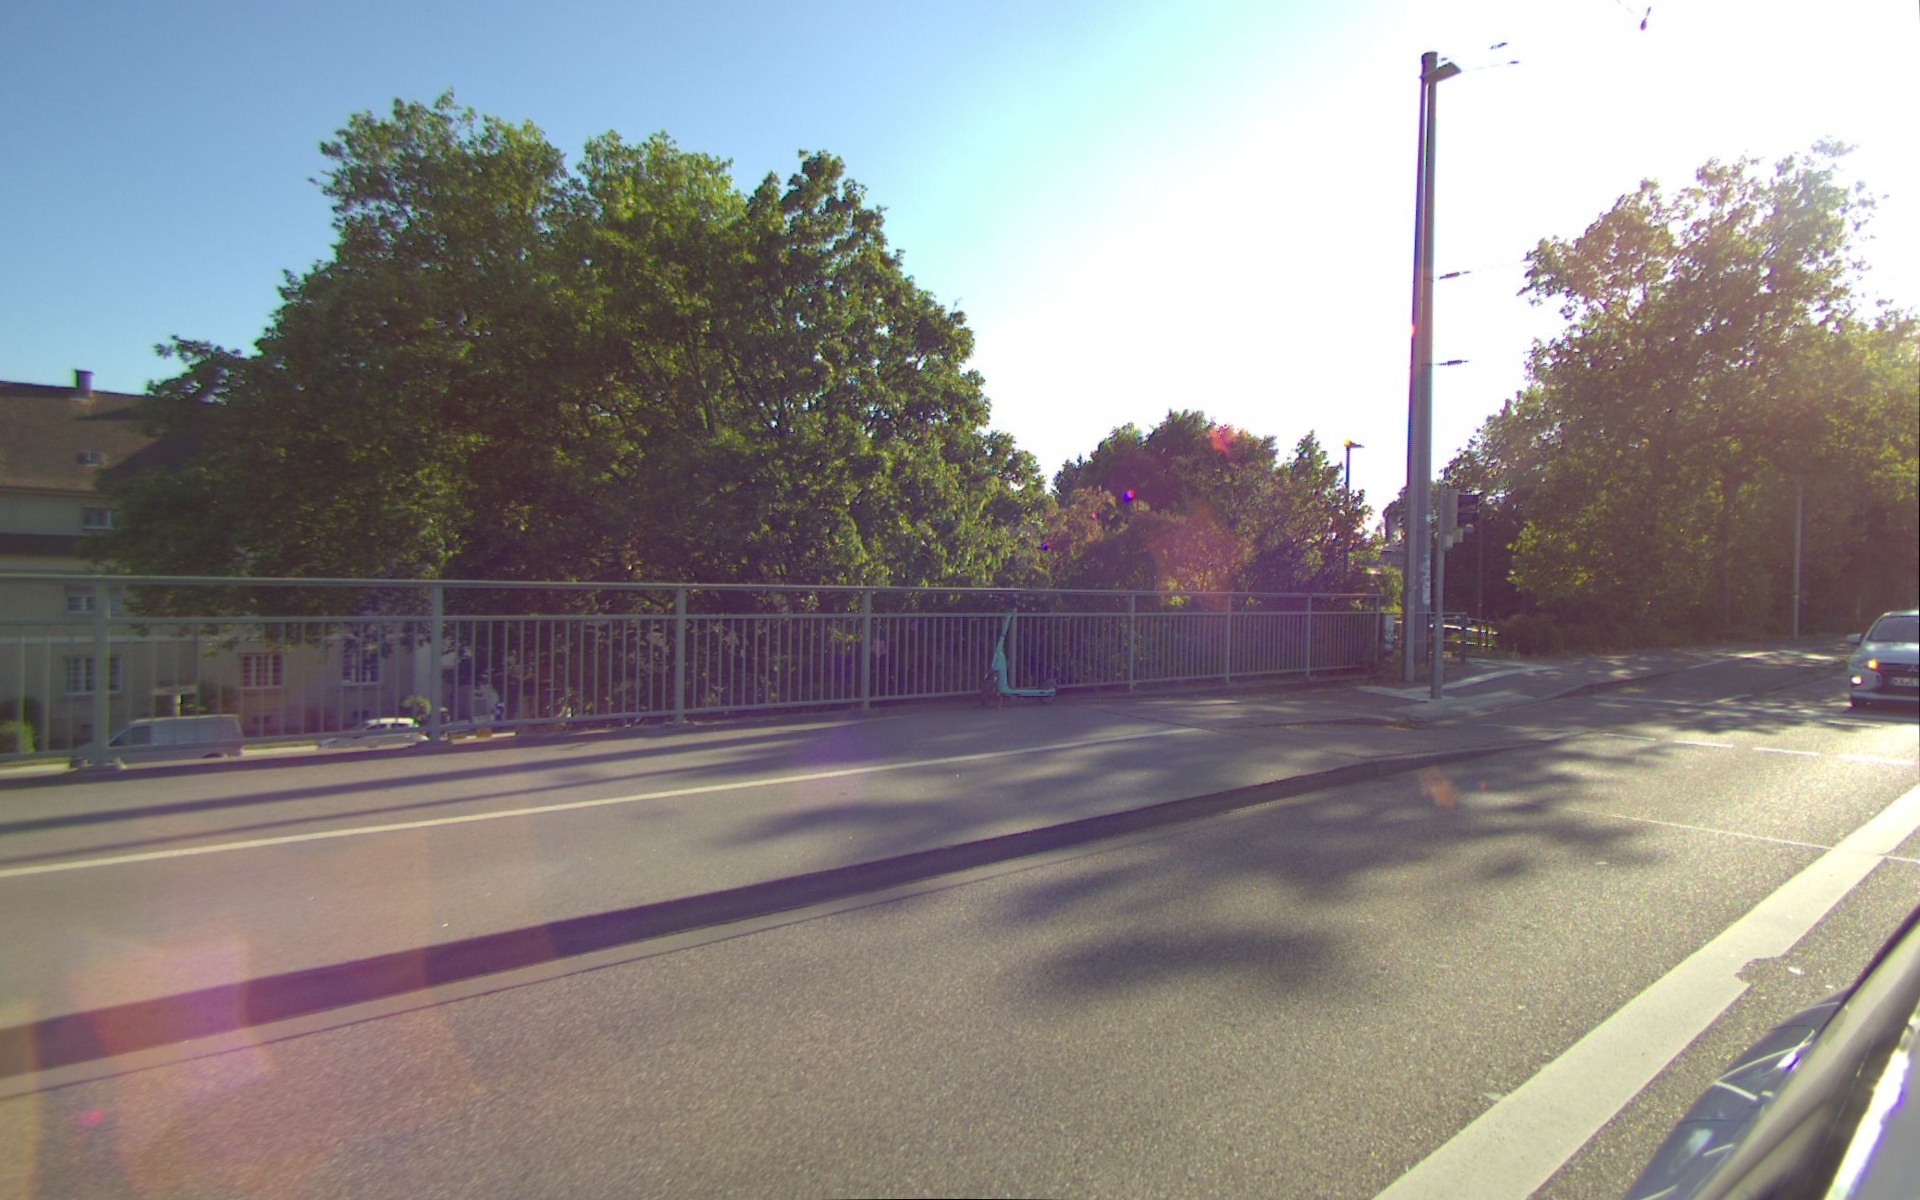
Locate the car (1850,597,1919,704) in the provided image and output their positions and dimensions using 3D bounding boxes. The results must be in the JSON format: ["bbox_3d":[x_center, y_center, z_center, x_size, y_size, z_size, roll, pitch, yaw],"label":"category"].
[{"bbox_3d":[15.036,0.722,15.356,3.676,1.492,1.671,0,1,-39],"label":"car"}]

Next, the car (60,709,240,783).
[{"bbox_3d":[-27.983,4.985,35.105,4.745,2.054,1.851,0,-5,-41],"label":"car"}]

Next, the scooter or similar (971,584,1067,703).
[{"bbox_3d":[0.675,0.471,11.468,1.064,1.291,0.427,0,1,-40],"label":"scooter or similar"}]

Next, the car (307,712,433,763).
[{"bbox_3d":[-22.867,5.282,39.264,4.002,1.556,1.712,0,-5,-41],"label":"car"}]
